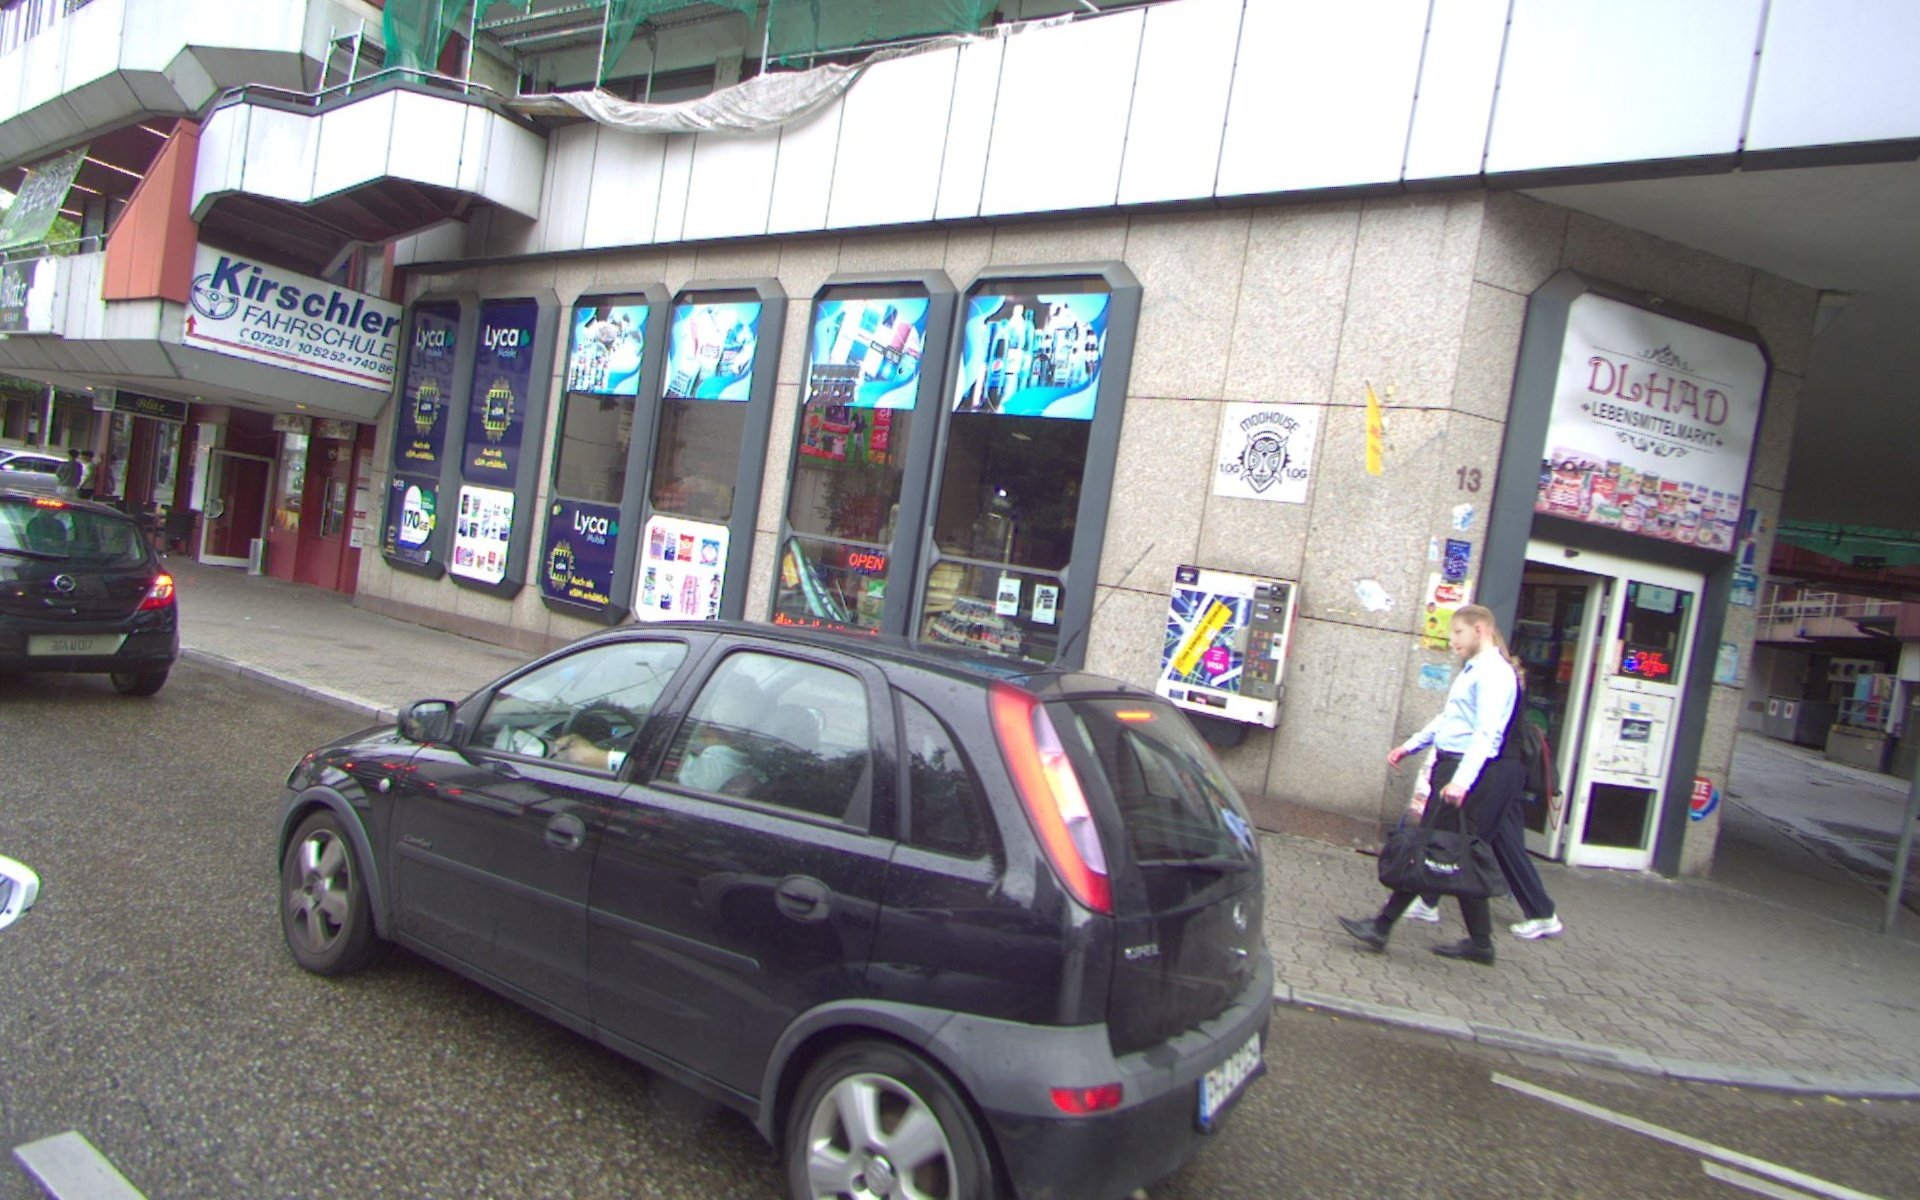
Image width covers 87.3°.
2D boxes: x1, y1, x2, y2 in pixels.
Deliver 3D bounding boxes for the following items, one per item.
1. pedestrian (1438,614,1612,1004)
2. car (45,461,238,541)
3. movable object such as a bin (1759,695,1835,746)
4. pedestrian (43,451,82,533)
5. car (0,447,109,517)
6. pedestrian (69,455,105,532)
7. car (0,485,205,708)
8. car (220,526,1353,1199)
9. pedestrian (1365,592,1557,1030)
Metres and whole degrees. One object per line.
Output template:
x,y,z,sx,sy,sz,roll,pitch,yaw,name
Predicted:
3.176,1.112,5.663,0.629,1.957,0.737,6,-1,31,pedestrian
-23.102,-2.751,28.599,1.592,1.503,4.005,6,-2,13,car
39.617,5.645,47.713,1.456,2.115,3.842,6,-2,22,movable object such as a bin
-19.395,-2.333,21.737,0.443,1.704,0.426,6,1,30,pedestrian
-26.752,-3.450,28.312,1.593,1.503,3.911,6,-2,19,car
-19.403,-2.366,22.360,0.496,1.660,0.396,6,1,32,pedestrian
-7.819,-0.204,7.797,3.776,1.446,1.620,8,-1,29,car
-0.763,0.722,3.468,3.563,1.446,1.609,8,-1,33,car
2.541,0.996,5.074,0.629,1.957,0.737,6,-1,31,pedestrian
